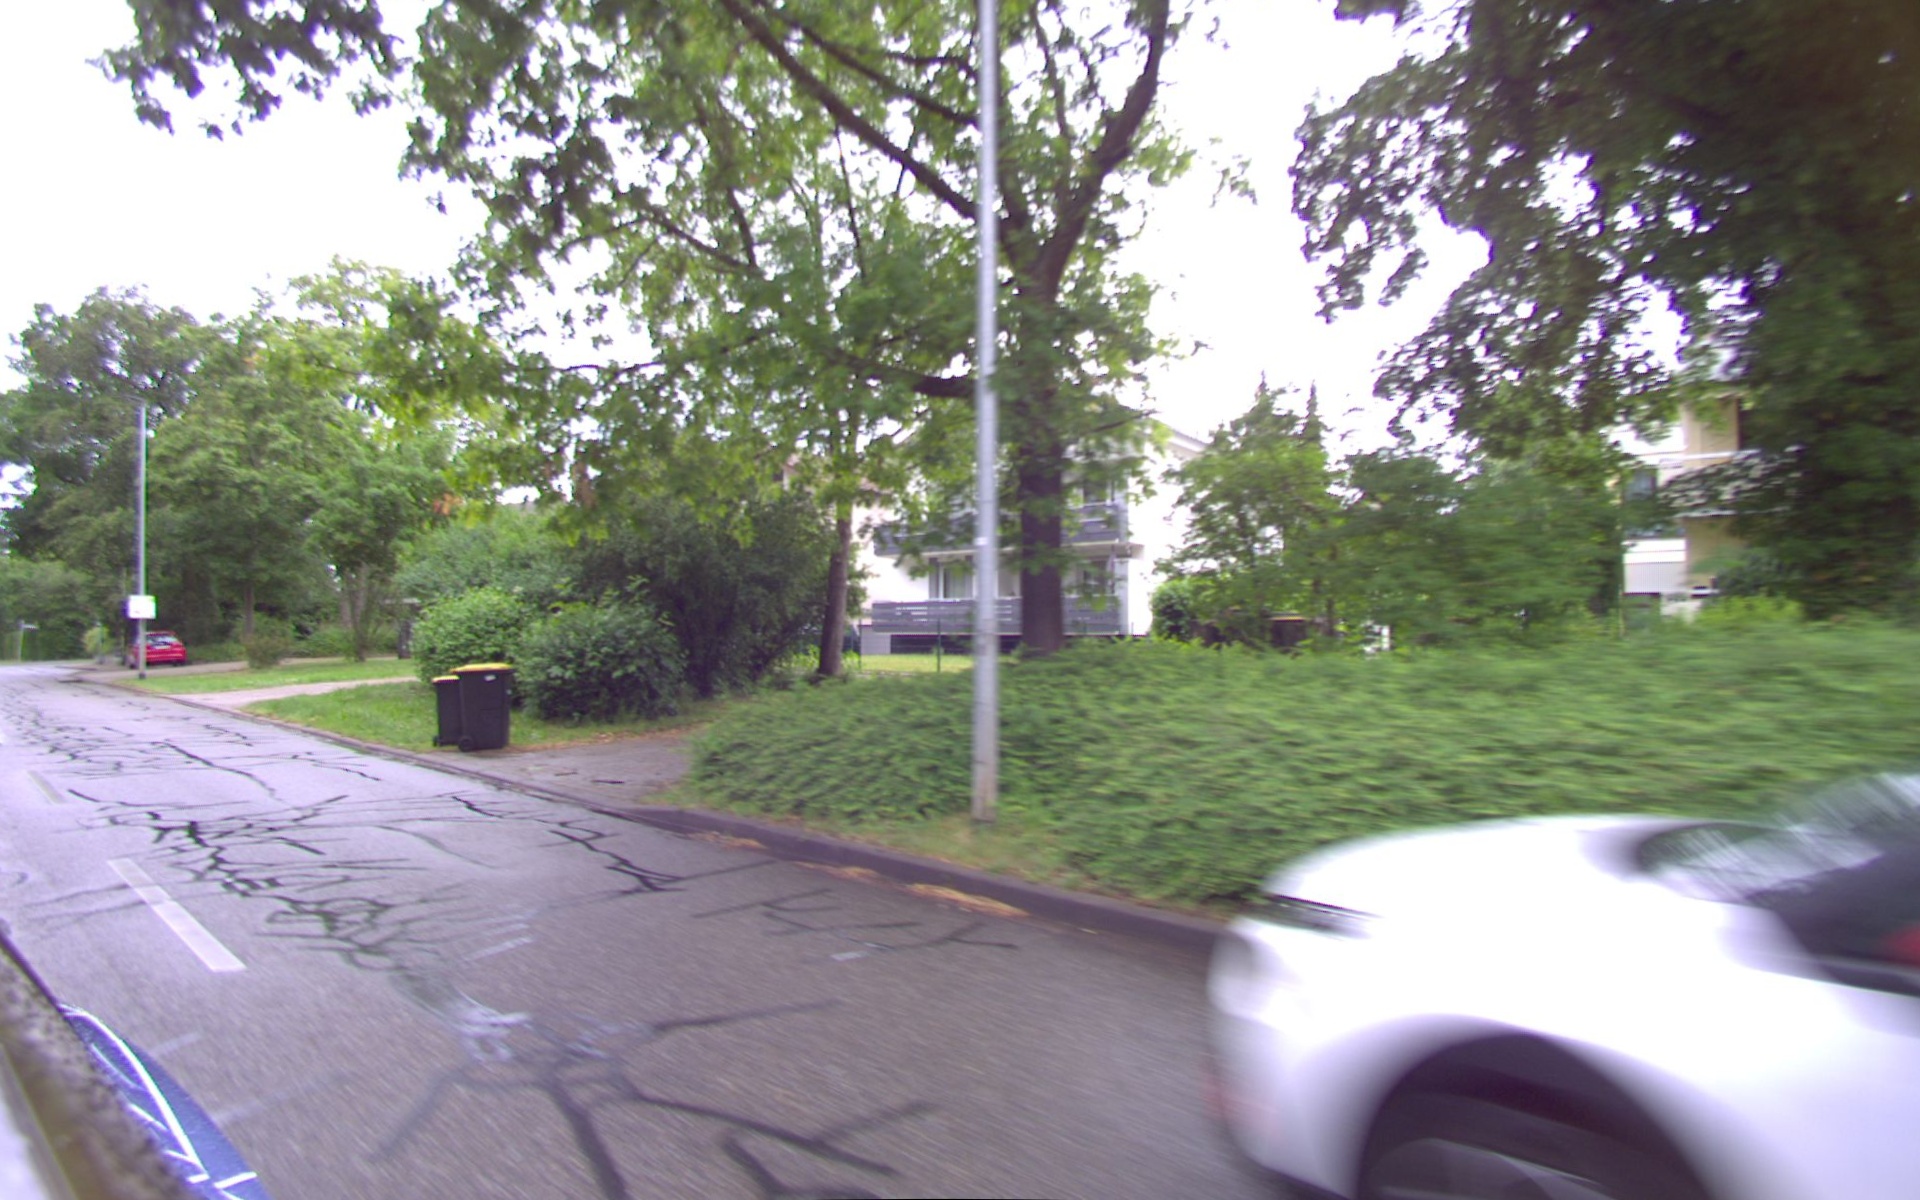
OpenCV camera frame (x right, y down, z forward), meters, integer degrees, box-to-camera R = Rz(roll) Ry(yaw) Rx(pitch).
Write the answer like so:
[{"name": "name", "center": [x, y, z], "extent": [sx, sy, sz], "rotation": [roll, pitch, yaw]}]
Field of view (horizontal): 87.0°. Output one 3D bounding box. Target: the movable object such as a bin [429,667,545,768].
[{"name": "movable object such as a bin", "center": [-5.835, 1.415, 12.489], "extent": [1.025, 1.113, 0.966], "rotation": [0, -2, -45]}]

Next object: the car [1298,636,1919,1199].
[{"name": "car", "center": [2.642, 0.835, 1.527], "extent": [3.728, 1.488, 1.649], "rotation": [-2, -5, 39]}]

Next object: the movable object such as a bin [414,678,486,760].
[{"name": "movable object such as a bin", "center": [-6.512, 1.506, 12.928], "extent": [0.640, 0.987, 0.578], "rotation": [4, -5, -45]}]

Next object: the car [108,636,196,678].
[{"name": "car", "center": [-34.118, 2.391, 42.709], "extent": [3.995, 1.527, 1.974], "rotation": [0, -4, 38]}]
